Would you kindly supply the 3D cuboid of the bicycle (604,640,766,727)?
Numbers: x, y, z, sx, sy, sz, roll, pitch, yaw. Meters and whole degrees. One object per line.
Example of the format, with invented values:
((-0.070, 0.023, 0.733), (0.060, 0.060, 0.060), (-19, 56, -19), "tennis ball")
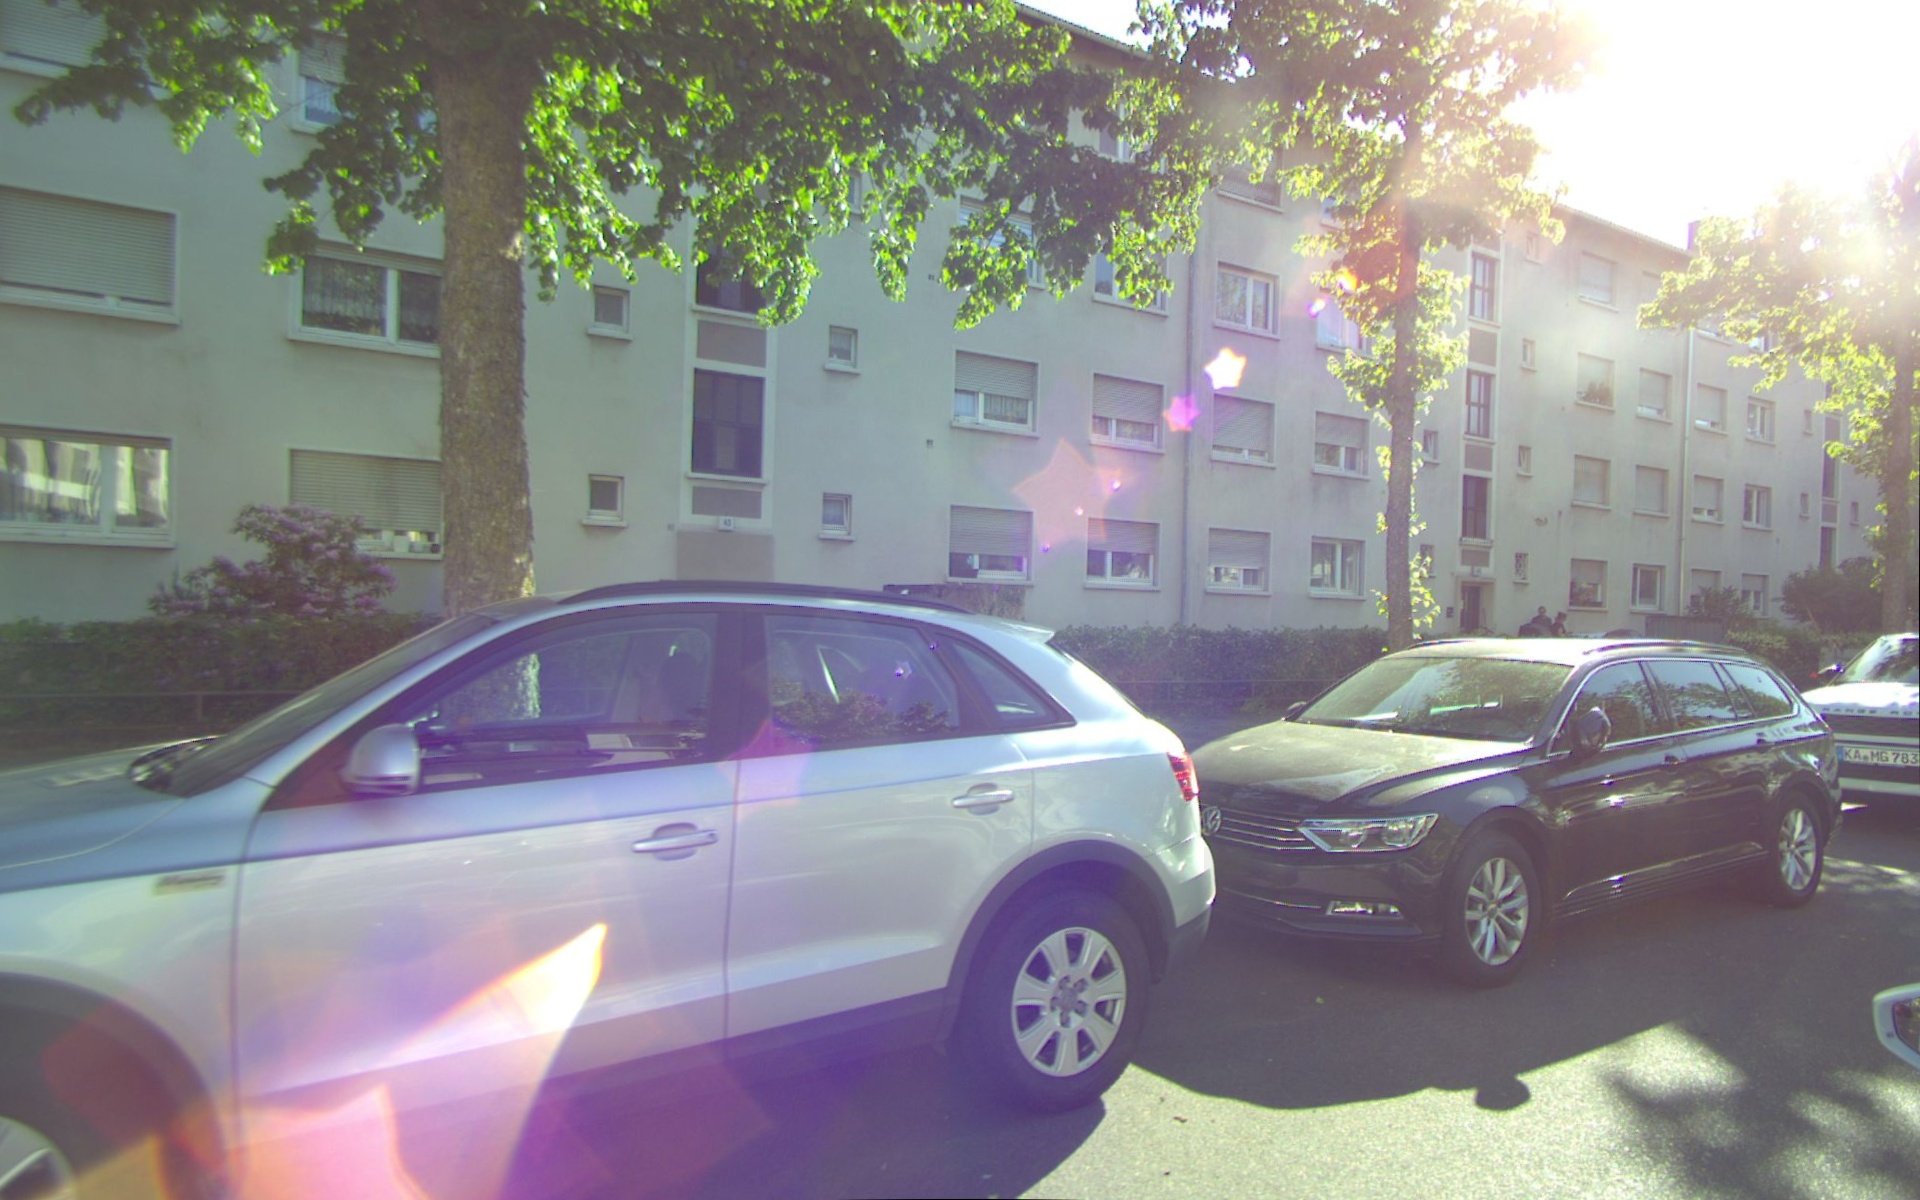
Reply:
((-3.622, 1.084, 13.279), (1.912, 1.055, 0.783), (2, -1, -30), "bicycle")

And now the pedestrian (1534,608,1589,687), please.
((15.148, 1.193, 25.304), (0.861, 1.939, 0.783), (2, 0, -2), "pedestrian")

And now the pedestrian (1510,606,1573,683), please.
((14.985, 1.137, 25.915), (1.008, 1.913, 0.933), (2, 0, -14), "pedestrian")

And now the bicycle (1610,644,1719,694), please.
((15.467, 1.494, 22.110), (0.507, 0.929, 1.940), (2, 0, -27), "bicycle")

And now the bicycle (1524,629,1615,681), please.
((14.767, 1.330, 24.342), (1.918, 1.168, 0.513), (2, 0, -6), "bicycle")

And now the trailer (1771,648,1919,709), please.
((18.580, 1.586, 20.655), (3.239, 1.047, 1.782), (2, 0, -27), "trailer")

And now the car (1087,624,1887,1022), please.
((3.141, 0.913, 5.669), (4.763, 1.466, 1.720), (2, -2, -30), "car")

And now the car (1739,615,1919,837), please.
((8.841, 1.015, 8.757), (4.315, 1.639, 1.721), (2, -4, -30), "car")

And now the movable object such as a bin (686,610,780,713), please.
((-2.599, 0.681, 11.450), (0.747, 1.106, 0.924), (2, -1, -34), "movable object such as a bin")

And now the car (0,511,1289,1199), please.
((-1.351, 0.633, 3.221), (4.669, 1.544, 2.053), (2, 0, -32), "car")

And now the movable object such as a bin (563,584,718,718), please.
((-3.449, 0.531, 10.847), (1.365, 1.341, 0.924), (2, -1, -34), "movable object such as a bin")
